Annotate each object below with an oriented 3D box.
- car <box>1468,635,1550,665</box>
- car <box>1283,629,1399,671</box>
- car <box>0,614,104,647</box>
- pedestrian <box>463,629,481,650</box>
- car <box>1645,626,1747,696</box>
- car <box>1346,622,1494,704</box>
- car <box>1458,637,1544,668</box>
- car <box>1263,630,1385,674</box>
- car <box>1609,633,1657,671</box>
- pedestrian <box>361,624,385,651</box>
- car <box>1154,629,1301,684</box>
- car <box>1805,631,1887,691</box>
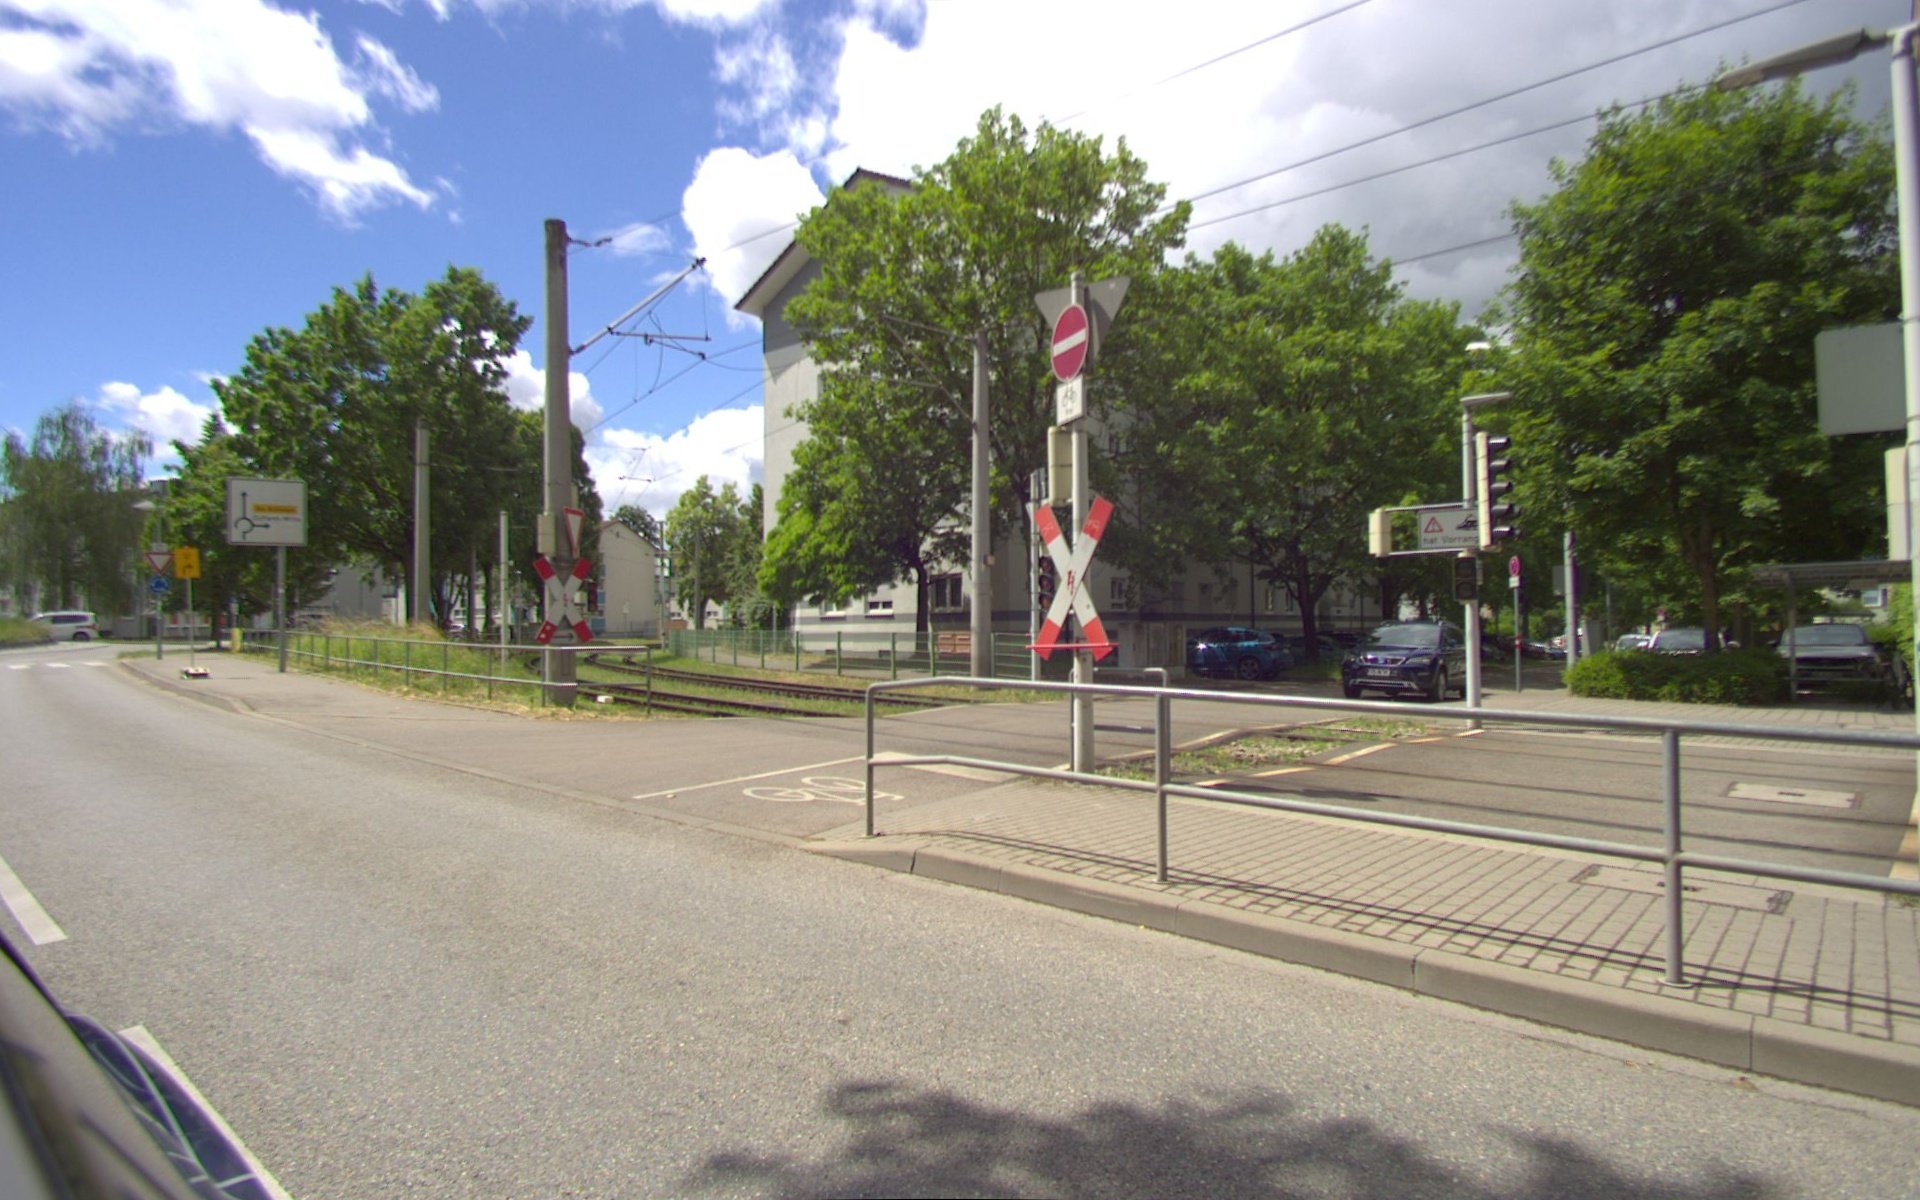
[{"bbox_3d":[32.297,2.927,59.529,4.101,1.567,1.839,0,0,35],"label":"car"},{"bbox_3d":[15.351,1.990,40.840,4.101,1.567,1.839,0,-2,35],"label":"car"},{"bbox_3d":[-51.350,1.703,57.109,4.545,1.810,2.003,1,-2,-40],"label":"car"},{"bbox_3d":[-39.156,3.147,81.191,0.874,1.677,1.010,-1,-2,36],"label":"pedestrian"},{"bbox_3d":[16.226,1.274,22.259,1.593,1.410,3.495,-1,-2,39],"label":"car"},{"bbox_3d":[9.287,1.269,20.308,1.588,1.487,3.631,-2,-4,44],"label":"car"},{"bbox_3d":[30.511,2.954,57.133,4.101,1.567,1.839,0,0,35],"label":"car"},{"bbox_3d":[13.996,1.968,38.961,4.101,1.567,1.839,0,-2,35],"label":"car"},{"bbox_3d":[35.592,2.693,53.492,1.790,1.937,4.009,-1,-2,38],"label":"car"},{"bbox_3d":[-36.520,2.344,62.961,1.018,1.677,0.866,-1,-2,31],"label":"pedestrian"},{"bbox_3d":[8.386,1.734,31.814,4.101,1.567,1.839,0,-2,35],"label":"car"},{"bbox_3d":[17.990,1.212,20.618,1.148,1.128,2.626,-1,-3,39],"label":"car"}]
